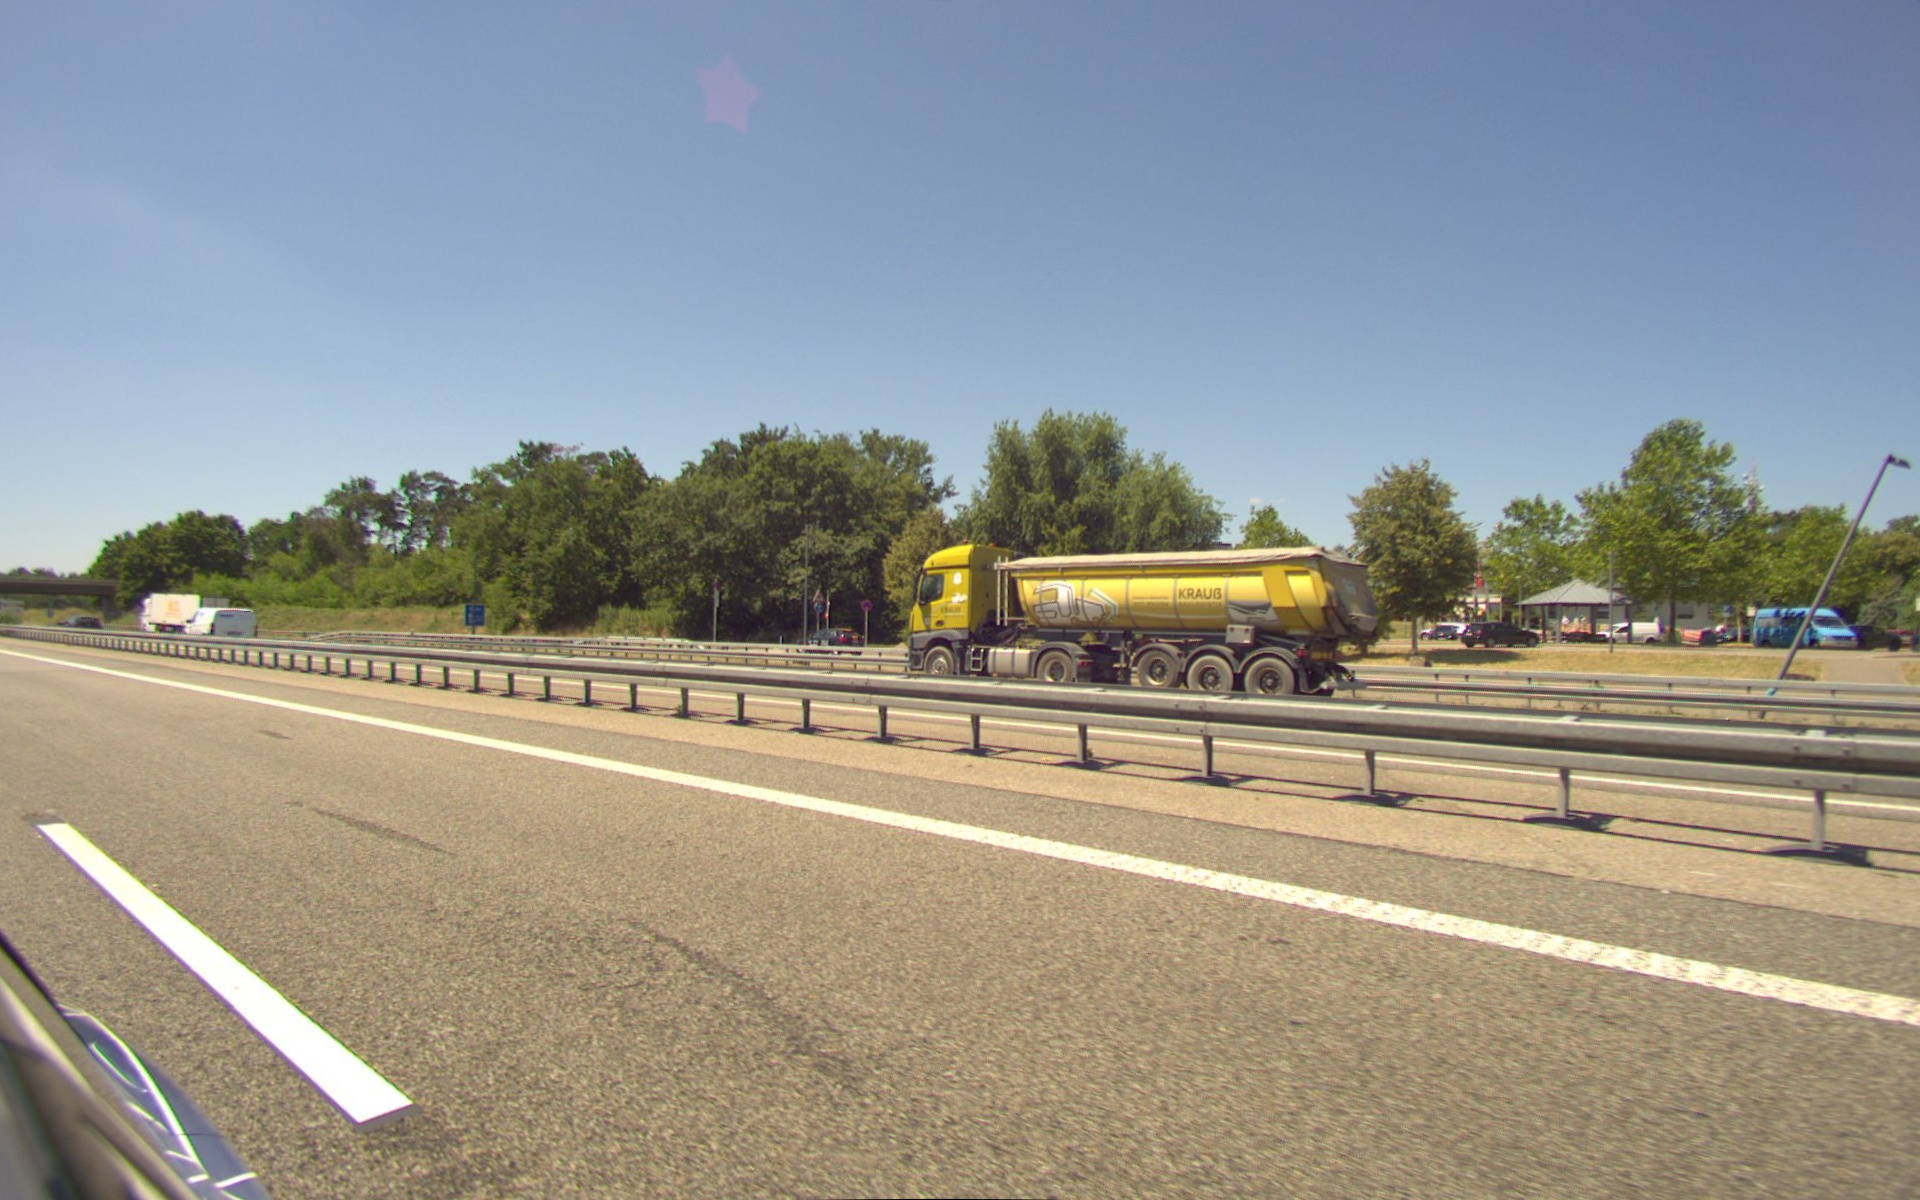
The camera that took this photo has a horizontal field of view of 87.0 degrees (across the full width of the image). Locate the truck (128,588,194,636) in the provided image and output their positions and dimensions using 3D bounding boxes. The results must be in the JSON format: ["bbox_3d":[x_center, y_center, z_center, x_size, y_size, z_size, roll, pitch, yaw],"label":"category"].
[{"bbox_3d":[-85.036,1.350,107.685,7.696,4.865,3.045,-1,-5,34],"label":"truck"}]

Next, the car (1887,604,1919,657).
[{"bbox_3d":[51.526,1.585,51.925,2.446,2.770,6.198,-1,-1,4],"label":"car"}]

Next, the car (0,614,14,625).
[{"bbox_3d":[-121.319,2.465,127.693,4.887,1.390,2.205,-1,-4,40],"label":"car"}]

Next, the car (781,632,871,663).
[{"bbox_3d":[-7.195,2.535,54.112,4.887,1.563,2.031,-1,-4,40],"label":"car"}]

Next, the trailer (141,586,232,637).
[{"bbox_3d":[-79.411,1.244,103.799,13.730,4.865,3.045,-1,-5,35],"label":"trailer"}]

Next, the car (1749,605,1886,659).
[{"bbox_3d":[46.934,1.677,55.625,2.446,2.770,6.198,-1,-1,4],"label":"car"}]

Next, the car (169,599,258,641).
[{"bbox_3d":[-34.829,0.953,47.149,5.939,1.857,2.031,-1,-2,40],"label":"car"}]

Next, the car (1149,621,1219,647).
[{"bbox_3d":[18.222,2.757,82.524,2.438,2.006,5.255,-1,-1,-38],"label":"car"}]

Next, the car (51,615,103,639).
[{"bbox_3d":[-63.380,1.942,72.597,4.887,1.563,2.031,-1,-4,40],"label":"car"}]

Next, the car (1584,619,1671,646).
[{"bbox_3d":[53.020,2.579,80.491,5.175,2.006,2.476,-1,0,3],"label":"car"}]

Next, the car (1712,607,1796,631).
[{"bbox_3d":[67.610,1.610,86.303,5.223,2.006,2.453,-1,-1,30],"label":"car"}]

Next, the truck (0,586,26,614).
[{"bbox_3d":[-143.558,0.115,151.769,16.858,4.026,3.291,-1,-2,41],"label":"truck"}]

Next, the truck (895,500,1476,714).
[{"bbox_3d":[4.369,0.251,23.837,13.524,3.839,3.138,-1,-3,41],"label":"truck"}]

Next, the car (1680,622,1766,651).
[{"bbox_3d":[57.685,2.756,76.545,5.155,2.006,2.485,-1,0,-15],"label":"car"}]
